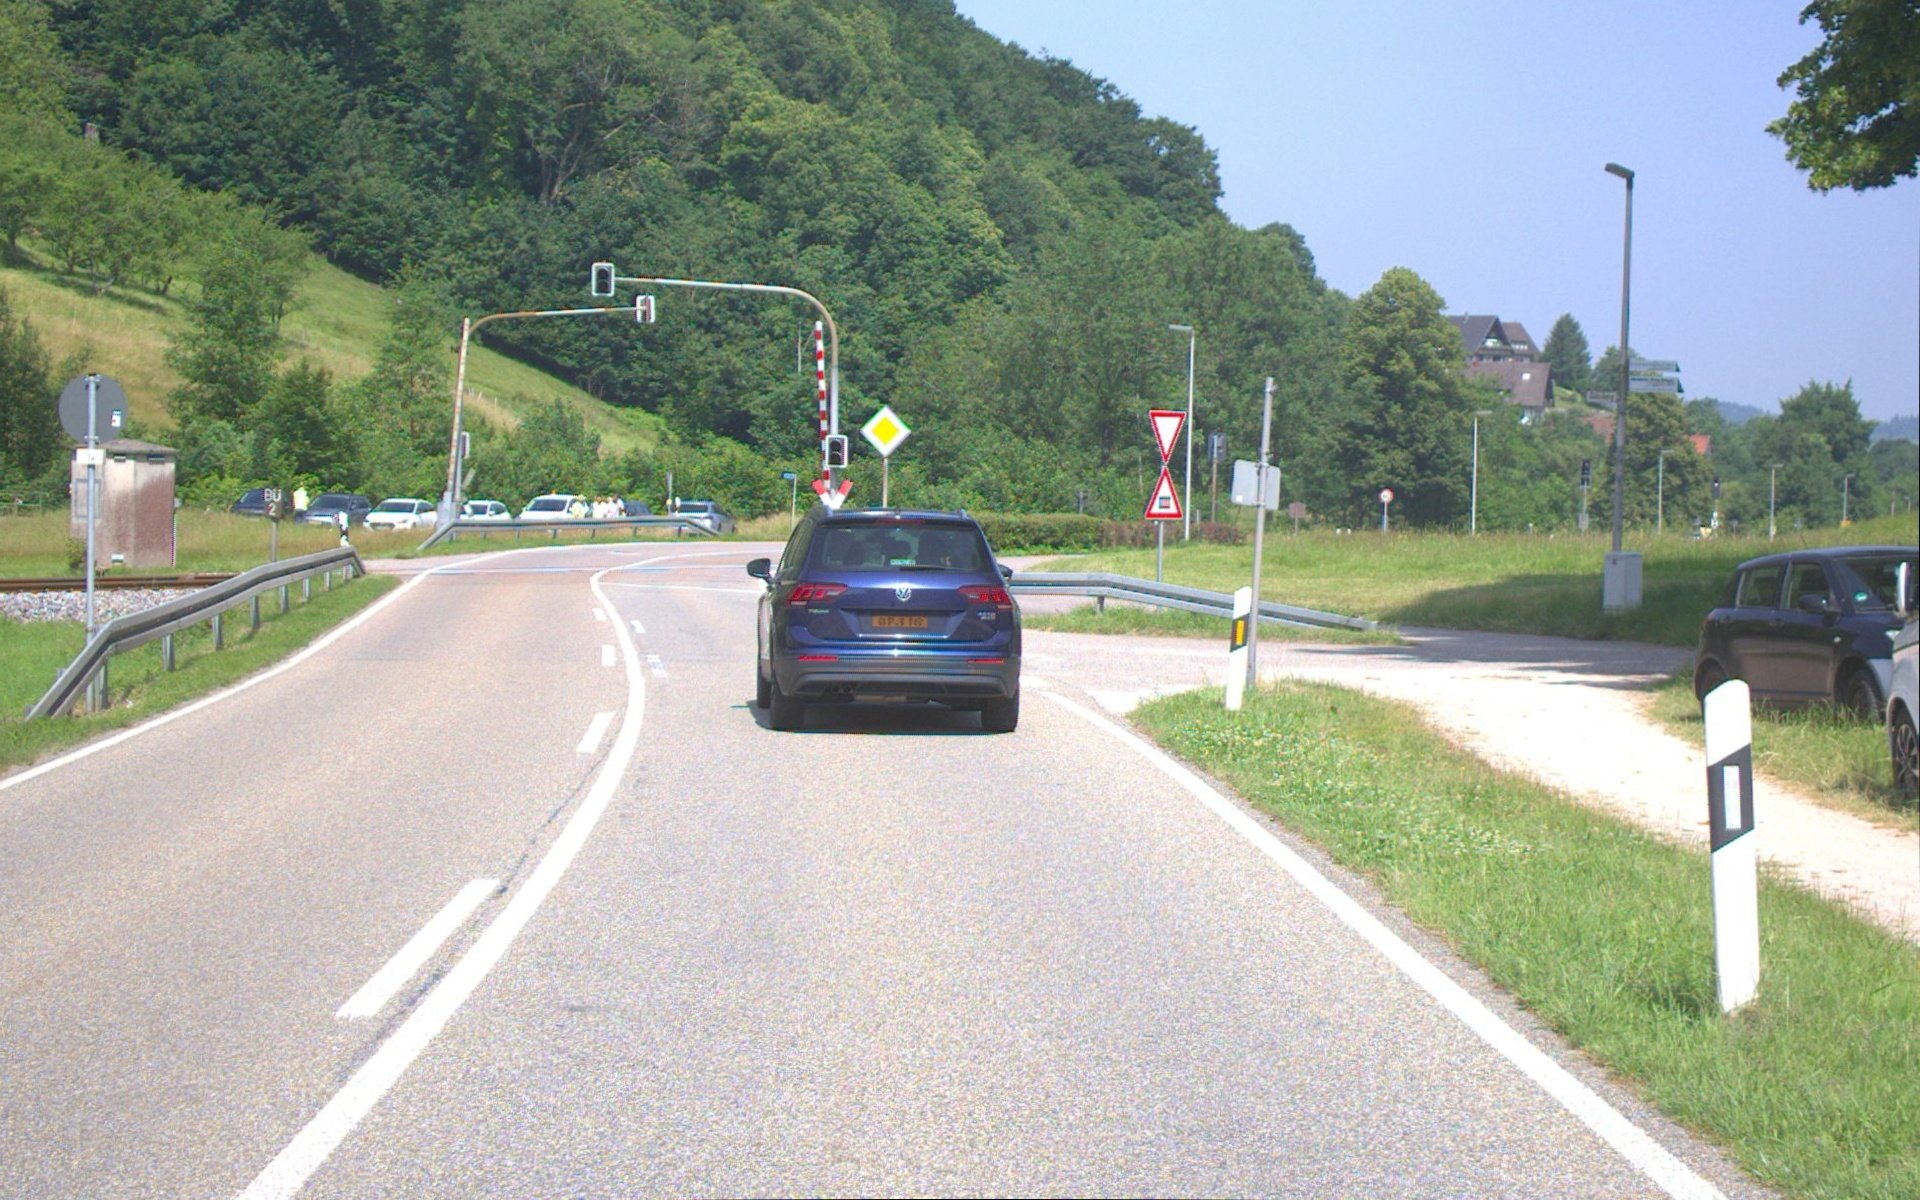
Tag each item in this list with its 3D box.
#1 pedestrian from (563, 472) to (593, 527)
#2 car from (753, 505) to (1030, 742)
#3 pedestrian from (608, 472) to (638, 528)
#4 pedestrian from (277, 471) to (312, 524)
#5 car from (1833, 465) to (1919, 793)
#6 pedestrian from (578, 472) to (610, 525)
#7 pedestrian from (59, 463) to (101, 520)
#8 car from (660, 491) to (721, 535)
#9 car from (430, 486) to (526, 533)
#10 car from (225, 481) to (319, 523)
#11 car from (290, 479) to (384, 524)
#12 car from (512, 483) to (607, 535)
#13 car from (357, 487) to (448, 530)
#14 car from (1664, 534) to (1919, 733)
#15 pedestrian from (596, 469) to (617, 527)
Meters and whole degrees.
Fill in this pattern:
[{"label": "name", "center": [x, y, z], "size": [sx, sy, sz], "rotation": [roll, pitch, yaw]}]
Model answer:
[{"label": "pedestrian", "center": [-12.810, -3.375, 115.263], "size": [0.788, 1.836, 0.698], "rotation": [1, 2, 21]}, {"label": "car", "center": [-0.600, 0.118, 26.009], "size": [1.852, 1.643, 4.141], "rotation": [0, 1, -4]}, {"label": "pedestrian", "center": [-11.377, -3.377, 116.199], "size": [0.648, 1.852, 0.769], "rotation": [1, 2, 43]}, {"label": "pedestrian", "center": [-22.685, -3.484, 117.208], "size": [0.954, 1.788, 1.000], "rotation": [0, 2, 4]}, {"label": "car", "center": [6.385, 0.132, 18.444], "size": [1.999, 1.842, 4.869], "rotation": [-4, 2, -1]}, {"label": "pedestrian", "center": [-12.357, -3.417, 116.096], "size": [0.770, 1.790, 0.792], "rotation": [1, 1, 36]}, {"label": "pedestrian", "center": [-30.605, -3.770, 119.555], "size": [1.127, 1.962, 0.861], "rotation": [1, 1, 25]}, {"label": "car", "center": [-9.461, -3.048, 120.887], "size": [1.826, 1.495, 4.278], "rotation": [0, 1, 0]}, {"label": "car", "center": [-17.250, -3.250, 123.192], "size": [1.994, 1.635, 4.900], "rotation": [1, 1, 10]}, {"label": "car", "center": [-24.851, -3.534, 124.377], "size": [1.994, 1.495, 4.520], "rotation": [1, 1, 7]}, {"label": "car", "center": [-22.409, -3.549, 123.769], "size": [1.994, 1.495, 4.520], "rotation": [3, 2, 7]}, {"label": "car", "center": [-14.352, -3.271, 123.340], "size": [1.872, 1.776, 4.769], "rotation": [2, 2, 13]}, {"label": "car", "center": [-19.952, -3.265, 123.238], "size": [1.994, 1.495, 4.520], "rotation": [1, 1, 7]}, {"label": "car", "center": [7.174, 0.221, 27.130], "size": [1.673, 1.452, 3.717], "rotation": [-2, 1, -15]}, {"label": "pedestrian", "center": [-11.925, -3.428, 115.885], "size": [0.660, 1.948, 0.533], "rotation": [0, 2, 0]}]
